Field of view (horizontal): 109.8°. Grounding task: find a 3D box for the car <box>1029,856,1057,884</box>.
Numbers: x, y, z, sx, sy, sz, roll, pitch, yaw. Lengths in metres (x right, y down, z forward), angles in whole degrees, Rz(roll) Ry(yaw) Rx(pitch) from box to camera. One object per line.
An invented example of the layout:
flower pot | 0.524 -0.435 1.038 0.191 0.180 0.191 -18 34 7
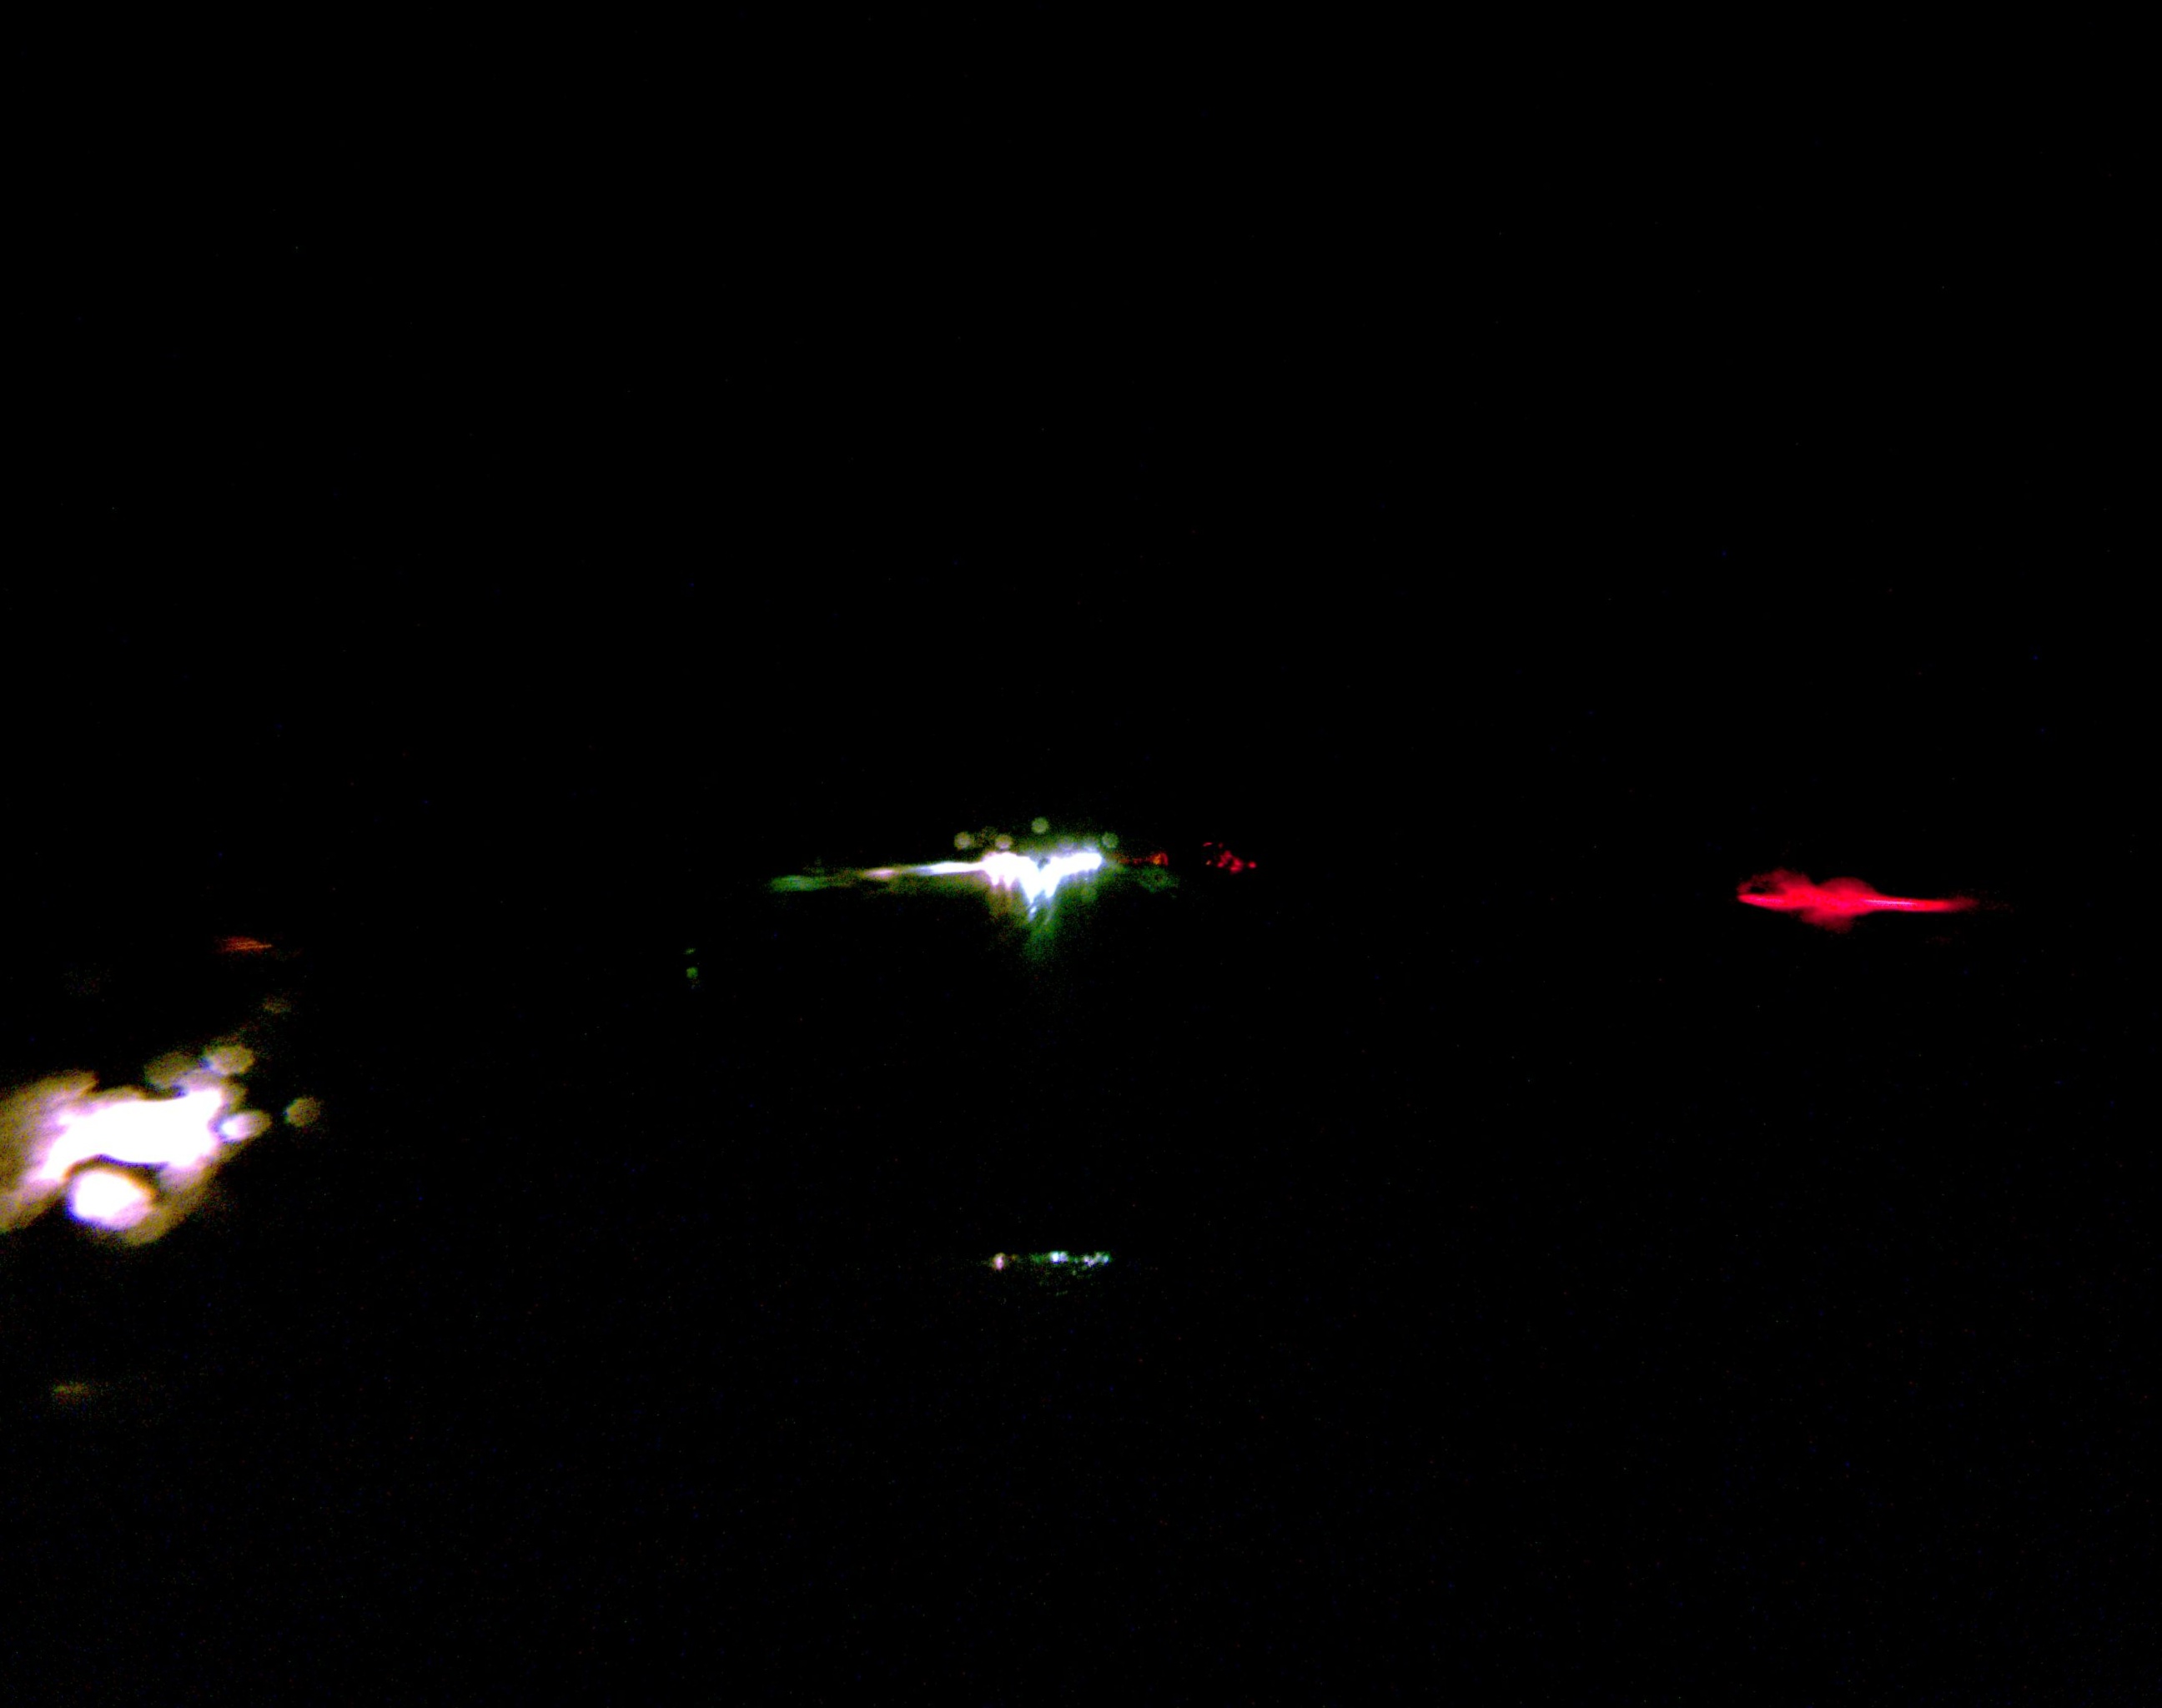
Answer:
car | -2.954 1.205 59.233 1.999 2.002 3.999 -2 0 -3

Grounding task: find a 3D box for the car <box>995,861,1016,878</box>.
car | -6.867 1.372 69.587 1.644 1.494 4.012 -1 0 -2

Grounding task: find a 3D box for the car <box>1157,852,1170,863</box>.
car | 14.795 0.671 136.760 1.998 2.002 4.000 0 0 0

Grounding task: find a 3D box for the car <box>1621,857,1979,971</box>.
car | 12.487 0.909 13.800 1.998 1.653 4.809 0 0 1

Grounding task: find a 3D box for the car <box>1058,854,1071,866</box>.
car | -2.502 0.881 115.401 1.883 1.653 4.000 -3 -1 -1

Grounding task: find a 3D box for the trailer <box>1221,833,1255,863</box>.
trailer | 21.683 -0.770 105.496 2.864 3.877 8.704 0 0 -1

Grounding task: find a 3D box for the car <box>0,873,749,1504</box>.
car | -3.768 0.980 4.297 1.745 1.566 4.493 -1 1 0

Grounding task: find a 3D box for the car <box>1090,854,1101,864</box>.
car | 2.665 0.915 139.553 1.883 1.653 4.000 -3 -1 -1

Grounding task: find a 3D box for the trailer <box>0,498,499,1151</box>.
trailer | -8.227 -0.181 1.534 2.910 4.084 14.486 0 0 0

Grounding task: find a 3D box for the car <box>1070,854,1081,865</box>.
car | -0.980 0.997 134.258 1.883 1.653 4.000 -3 -1 -1

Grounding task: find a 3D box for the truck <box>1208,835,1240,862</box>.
truck | 21.540 -0.745 114.970 2.875 3.885 10.211 0 0 -1
